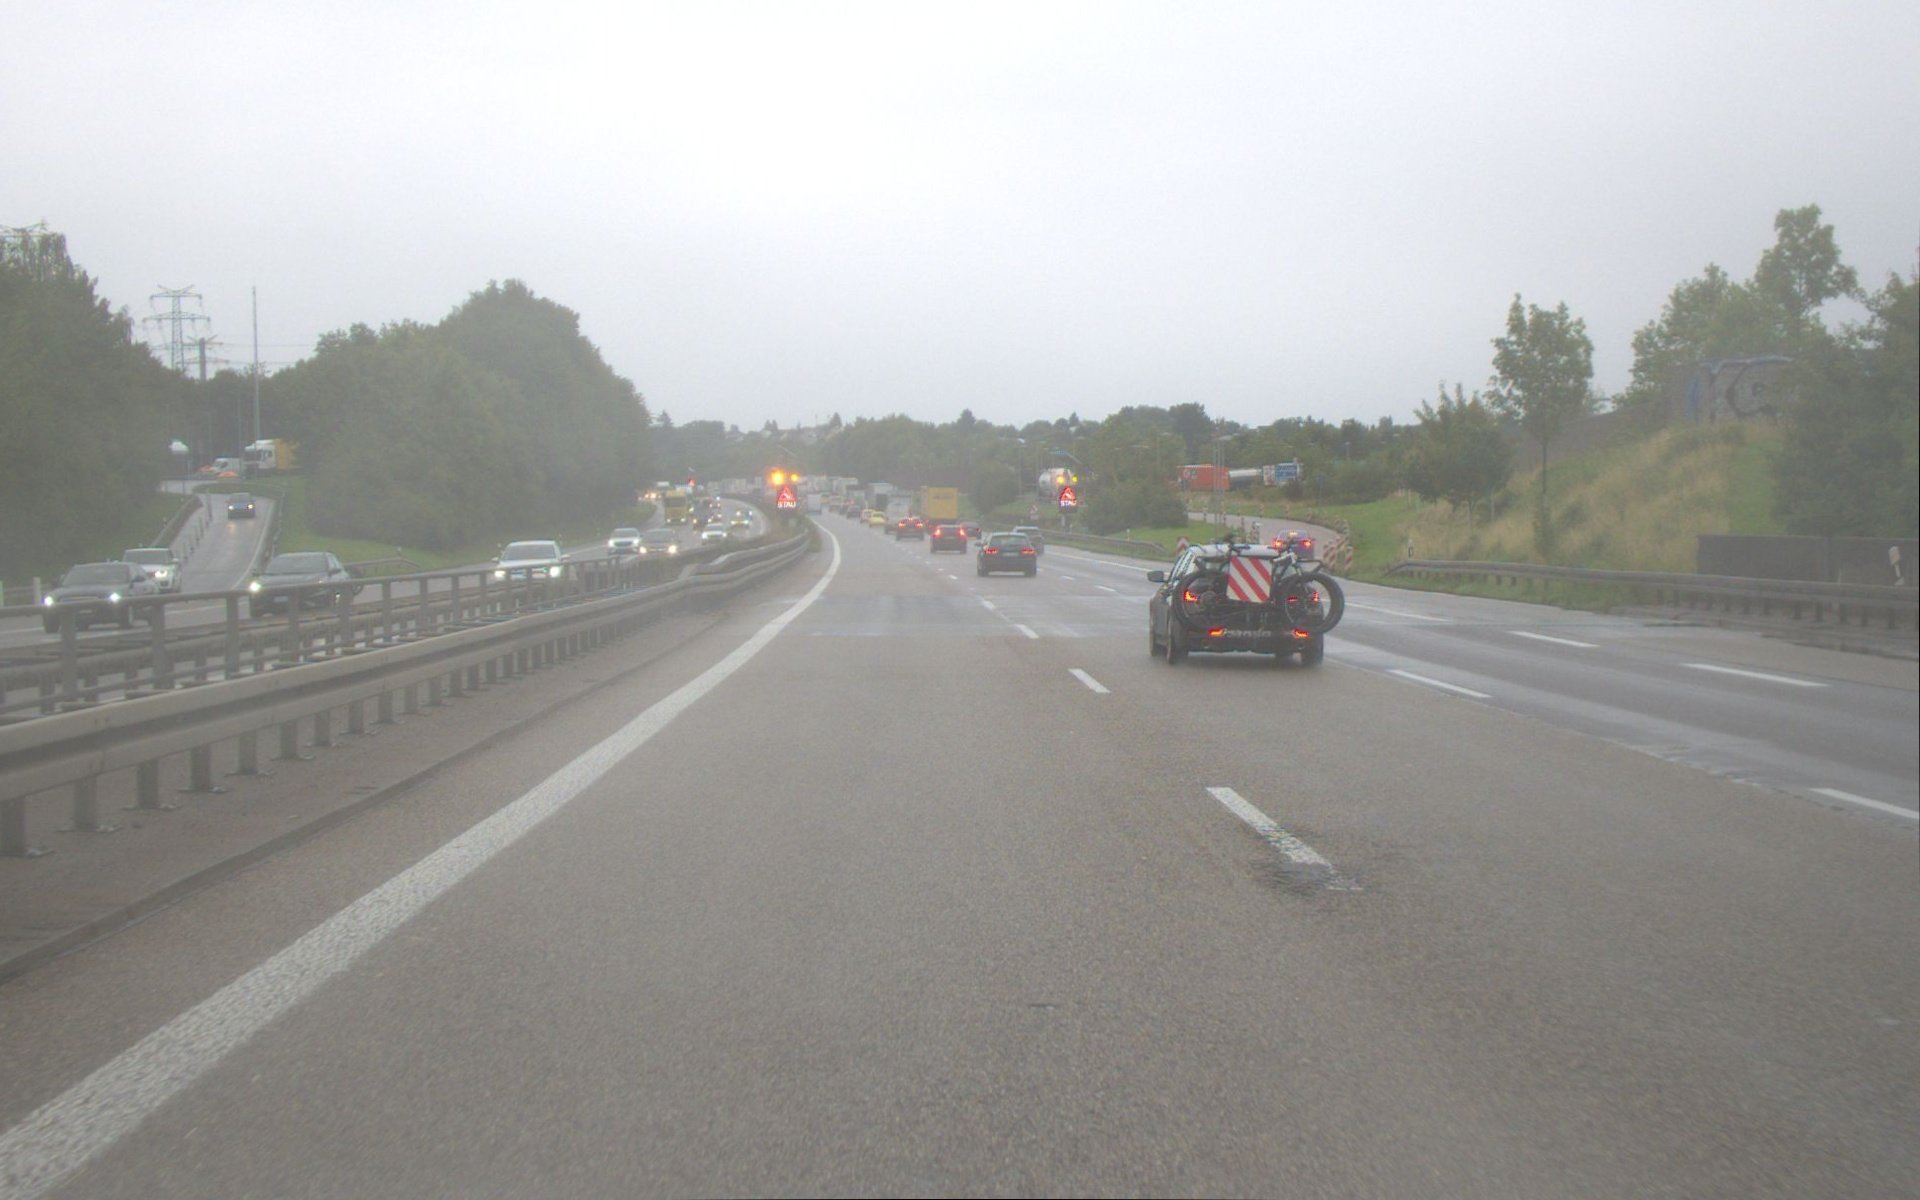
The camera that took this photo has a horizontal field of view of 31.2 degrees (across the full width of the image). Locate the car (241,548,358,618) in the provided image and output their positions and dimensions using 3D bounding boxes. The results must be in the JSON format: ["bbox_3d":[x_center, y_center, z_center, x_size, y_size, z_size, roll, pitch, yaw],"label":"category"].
[{"bbox_3d":[-14.639,-0.403,76.392,1.816,1.432,4.089,-2,1,-1],"label":"car"}]

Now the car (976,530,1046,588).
[{"bbox_3d":[1.631,-1.344,111.320,1.993,1.755,4.001,-1,2,-3],"label":"car"}]

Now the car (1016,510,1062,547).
[{"bbox_3d":[3.996,-3.618,173.781,1.993,1.755,4.001,-1,2,-3],"label":"car"}]

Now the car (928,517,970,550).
[{"bbox_3d":[-0.595,-3.459,178.646,1.993,1.623,4.001,-1,2,-3],"label":"car"}]

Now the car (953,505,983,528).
[{"bbox_3d":[0.608,-6.203,254.861,1.993,1.623,4.001,-1,2,-3],"label":"car"}]

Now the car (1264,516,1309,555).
[{"bbox_3d":[14.970,-2.983,157.832,1.922,1.703,4.000,-1,1,4],"label":"car"}]

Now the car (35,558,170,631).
[{"bbox_3d":[-18.013,-0.138,72.372,1.816,1.384,4.089,-2,1,-1],"label":"car"}]

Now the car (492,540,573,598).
[{"bbox_3d":[-11.303,-0.839,91.152,1.656,1.432,4.089,-2,1,-1],"label":"car"}]

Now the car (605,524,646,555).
[{"bbox_3d":[-18.570,-3.395,191.116,1.904,1.659,4.714,-2,1,-1],"label":"car"}]

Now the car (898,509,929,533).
[{"bbox_3d":[-3.291,-5.580,243.689,1.993,1.623,4.001,-1,2,-3],"label":"car"}]

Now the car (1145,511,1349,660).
[{"bbox_3d":[3.394,-0.199,41.702,2.058,1.665,5.522,0,1,1],"label":"car"}]

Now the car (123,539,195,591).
[{"bbox_3d":[-27.006,-1.189,116.027,1.993,1.664,4.001,-1,1,-8],"label":"car"}]

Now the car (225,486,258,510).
[{"bbox_3d":[-48.620,-6.917,232.587,1.967,1.537,4.001,-2,2,-15],"label":"car"}]
